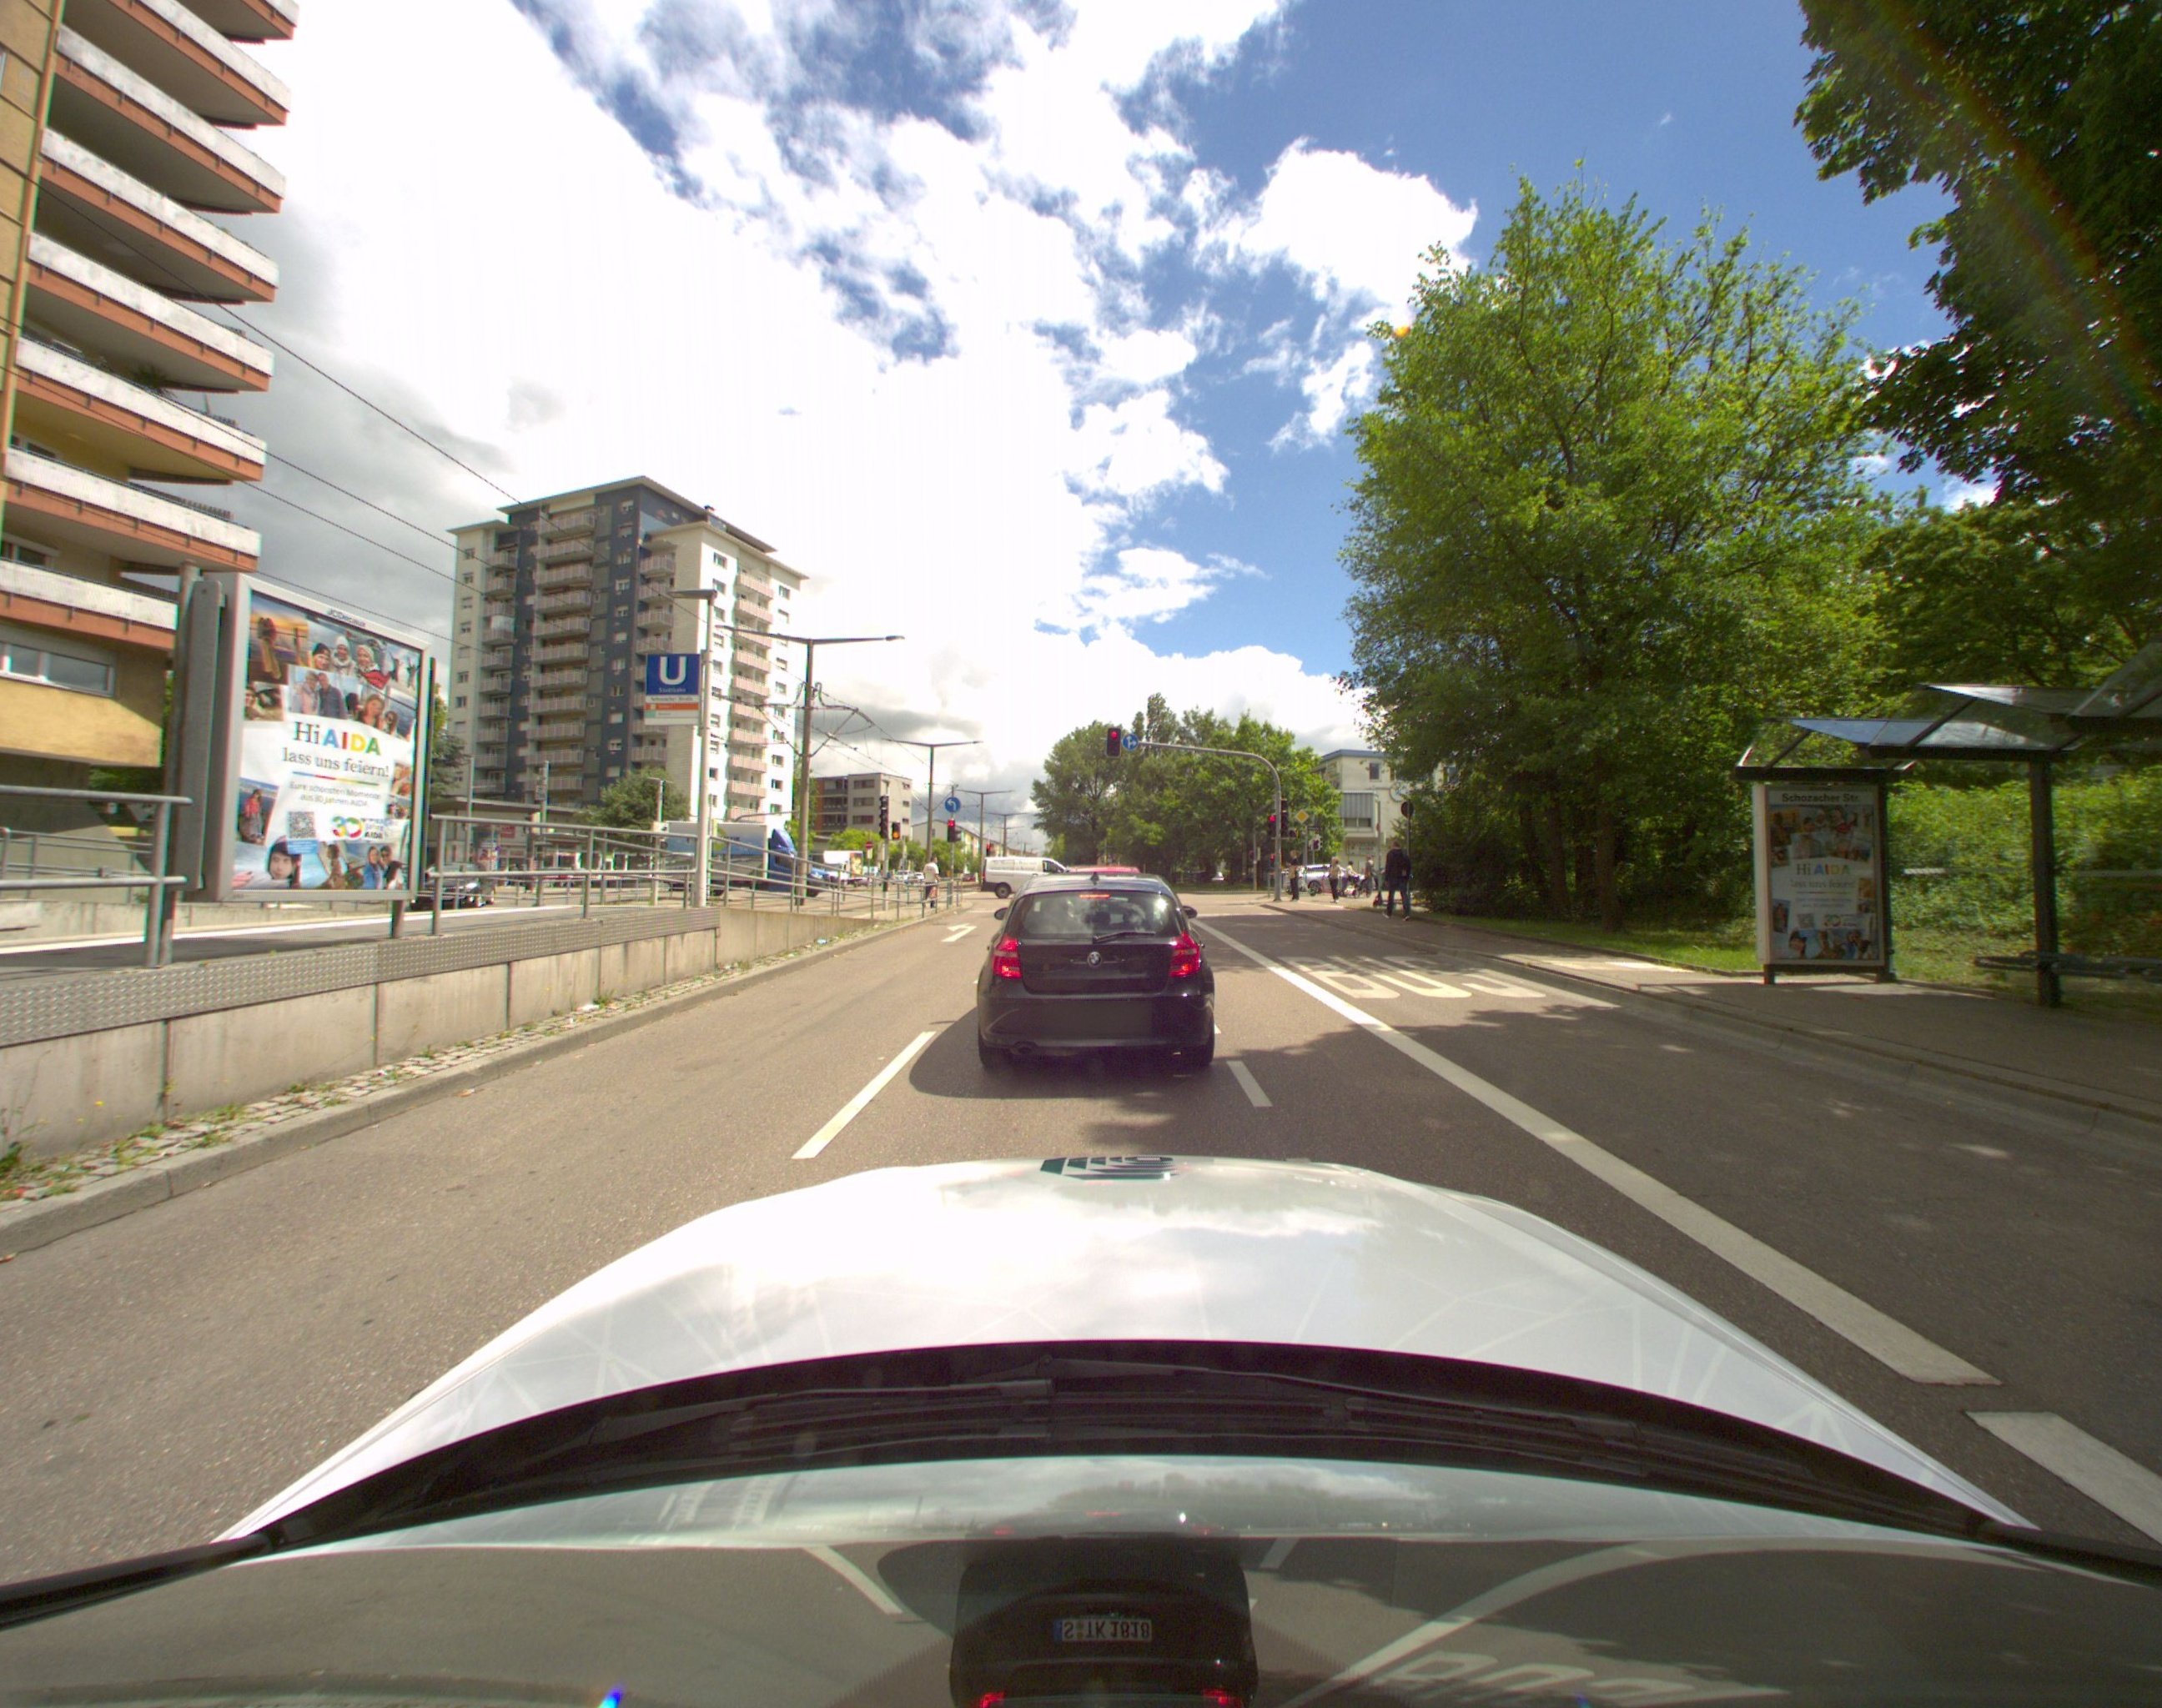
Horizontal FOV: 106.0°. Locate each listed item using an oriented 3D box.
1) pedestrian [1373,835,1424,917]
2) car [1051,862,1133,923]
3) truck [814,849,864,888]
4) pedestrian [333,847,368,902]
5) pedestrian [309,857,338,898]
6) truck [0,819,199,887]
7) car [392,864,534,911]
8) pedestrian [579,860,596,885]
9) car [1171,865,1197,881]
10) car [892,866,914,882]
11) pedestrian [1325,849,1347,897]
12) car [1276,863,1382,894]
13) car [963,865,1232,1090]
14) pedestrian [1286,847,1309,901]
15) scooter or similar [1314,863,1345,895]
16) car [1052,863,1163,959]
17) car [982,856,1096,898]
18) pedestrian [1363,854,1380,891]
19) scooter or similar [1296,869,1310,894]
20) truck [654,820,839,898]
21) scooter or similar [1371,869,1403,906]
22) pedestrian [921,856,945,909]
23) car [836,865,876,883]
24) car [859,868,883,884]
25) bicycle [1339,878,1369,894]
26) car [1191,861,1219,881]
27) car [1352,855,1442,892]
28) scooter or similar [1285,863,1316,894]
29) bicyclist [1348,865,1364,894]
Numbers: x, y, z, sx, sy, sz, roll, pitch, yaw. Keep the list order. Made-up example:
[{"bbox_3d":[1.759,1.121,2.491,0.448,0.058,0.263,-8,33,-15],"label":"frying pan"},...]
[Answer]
[{"bbox_3d":[7.476,0.509,19.215,0.793,1.876,1.013,0,-1,-2],"label":"pedestrian"},{"bbox_3d":[0.334,0.921,21.218,1.893,1.422,4.540,0,-1,2],"label":"car"},{"bbox_3d":[-20.475,1.230,69.230,2.275,3.118,7.312,0,-1,-2],"label":"truck"},{"bbox_3d":[-23.736,0.664,26.458,0.650,1.776,0.667,-1,-1,30],"label":"pedestrian"},{"bbox_3d":[-26.999,0.821,29.025,0.494,1.440,0.551,-1,-1,12],"label":"pedestrian"},{"bbox_3d":[-34.574,-0.022,28.753,4.262,2.290,2.352,0,-1,2],"label":"truck"},{"bbox_3d":[-19.914,1.031,26.454,1.573,1.405,3.866,-1,-1,2],"label":"car"},{"bbox_3d":[-39.625,1.469,65.384,0.851,2.014,0.852,-1,-1,29],"label":"pedestrian"},{"bbox_3d":[11.424,2.083,90.564,1.862,1.662,3.987,0,-1,-9],"label":"car"},{"bbox_3d":[-20.323,2.232,93.232,1.586,1.756,3.775,0,-1,1],"label":"car"},{"bbox_3d":[9.408,0.706,30.059,0.636,1.766,0.516,0,-1,-9],"label":"pedestrian"},{"bbox_3d":[12.461,1.216,41.070,4.784,1.522,1.996,0,-1,-6],"label":"car"},{"bbox_3d":[0.156,0.802,6.840,1.694,1.400,3.421,0,-1,2],"label":"car"},{"bbox_3d":[7.657,0.708,28.801,0.636,1.876,0.516,0,-1,-9],"label":"pedestrian"},{"bbox_3d":[10.314,1.025,33.797,1.145,1.272,0.556,1,-1,4],"label":"scooter or similar"},{"bbox_3d":[0.446,0.858,13.741,1.632,1.400,3.421,0,-1,2],"label":"car"},{"bbox_3d":[-2.004,1.035,37.948,5.167,1.893,1.994,0,-1,-9],"label":"car"},{"bbox_3d":[13.308,0.841,37.323,0.651,1.713,0.464,-1,-1,28],"label":"pedestrian"},{"bbox_3d":[9.481,1.161,34.801,0.543,1.064,1.267,0,-1,16],"label":"scooter or similar"},{"bbox_3d":[-14.961,0.217,36.909,7.261,3.348,2.602,0,-1,-7],"label":"truck"},{"bbox_3d":[10.667,1.166,28.421,0.886,1.230,0.455,4,-1,1],"label":"scooter or similar"},{"bbox_3d":[-4.927,0.933,27.113,0.690,1.734,0.683,0,-1,-21],"label":"pedestrian"},{"bbox_3d":[-24.815,2.166,89.823,3.944,1.975,1.637,0,-1,-41],"label":"car"},{"bbox_3d":[-20.452,2.115,79.477,1.402,1.461,3.773,0,-1,0],"label":"car"},{"bbox_3d":[11.133,1.286,33.214,0.528,0.610,1.600,-1,-1,44],"label":"bicycle"},{"bbox_3d":[12.099,1.658,79.511,1.724,1.871,3.990,0,-1,-7],"label":"car"},{"bbox_3d":[18.638,1.135,48.090,4.530,2.014,1.996,-1,-1,-7],"label":"car"},{"bbox_3d":[8.919,1.003,33.108,1.105,1.235,0.540,0,-1,4],"label":"scooter or similar"},{"bbox_3d":[11.271,1.037,33.354,0.496,1.157,0.402,-2,-2,44],"label":"bicyclist"}]
